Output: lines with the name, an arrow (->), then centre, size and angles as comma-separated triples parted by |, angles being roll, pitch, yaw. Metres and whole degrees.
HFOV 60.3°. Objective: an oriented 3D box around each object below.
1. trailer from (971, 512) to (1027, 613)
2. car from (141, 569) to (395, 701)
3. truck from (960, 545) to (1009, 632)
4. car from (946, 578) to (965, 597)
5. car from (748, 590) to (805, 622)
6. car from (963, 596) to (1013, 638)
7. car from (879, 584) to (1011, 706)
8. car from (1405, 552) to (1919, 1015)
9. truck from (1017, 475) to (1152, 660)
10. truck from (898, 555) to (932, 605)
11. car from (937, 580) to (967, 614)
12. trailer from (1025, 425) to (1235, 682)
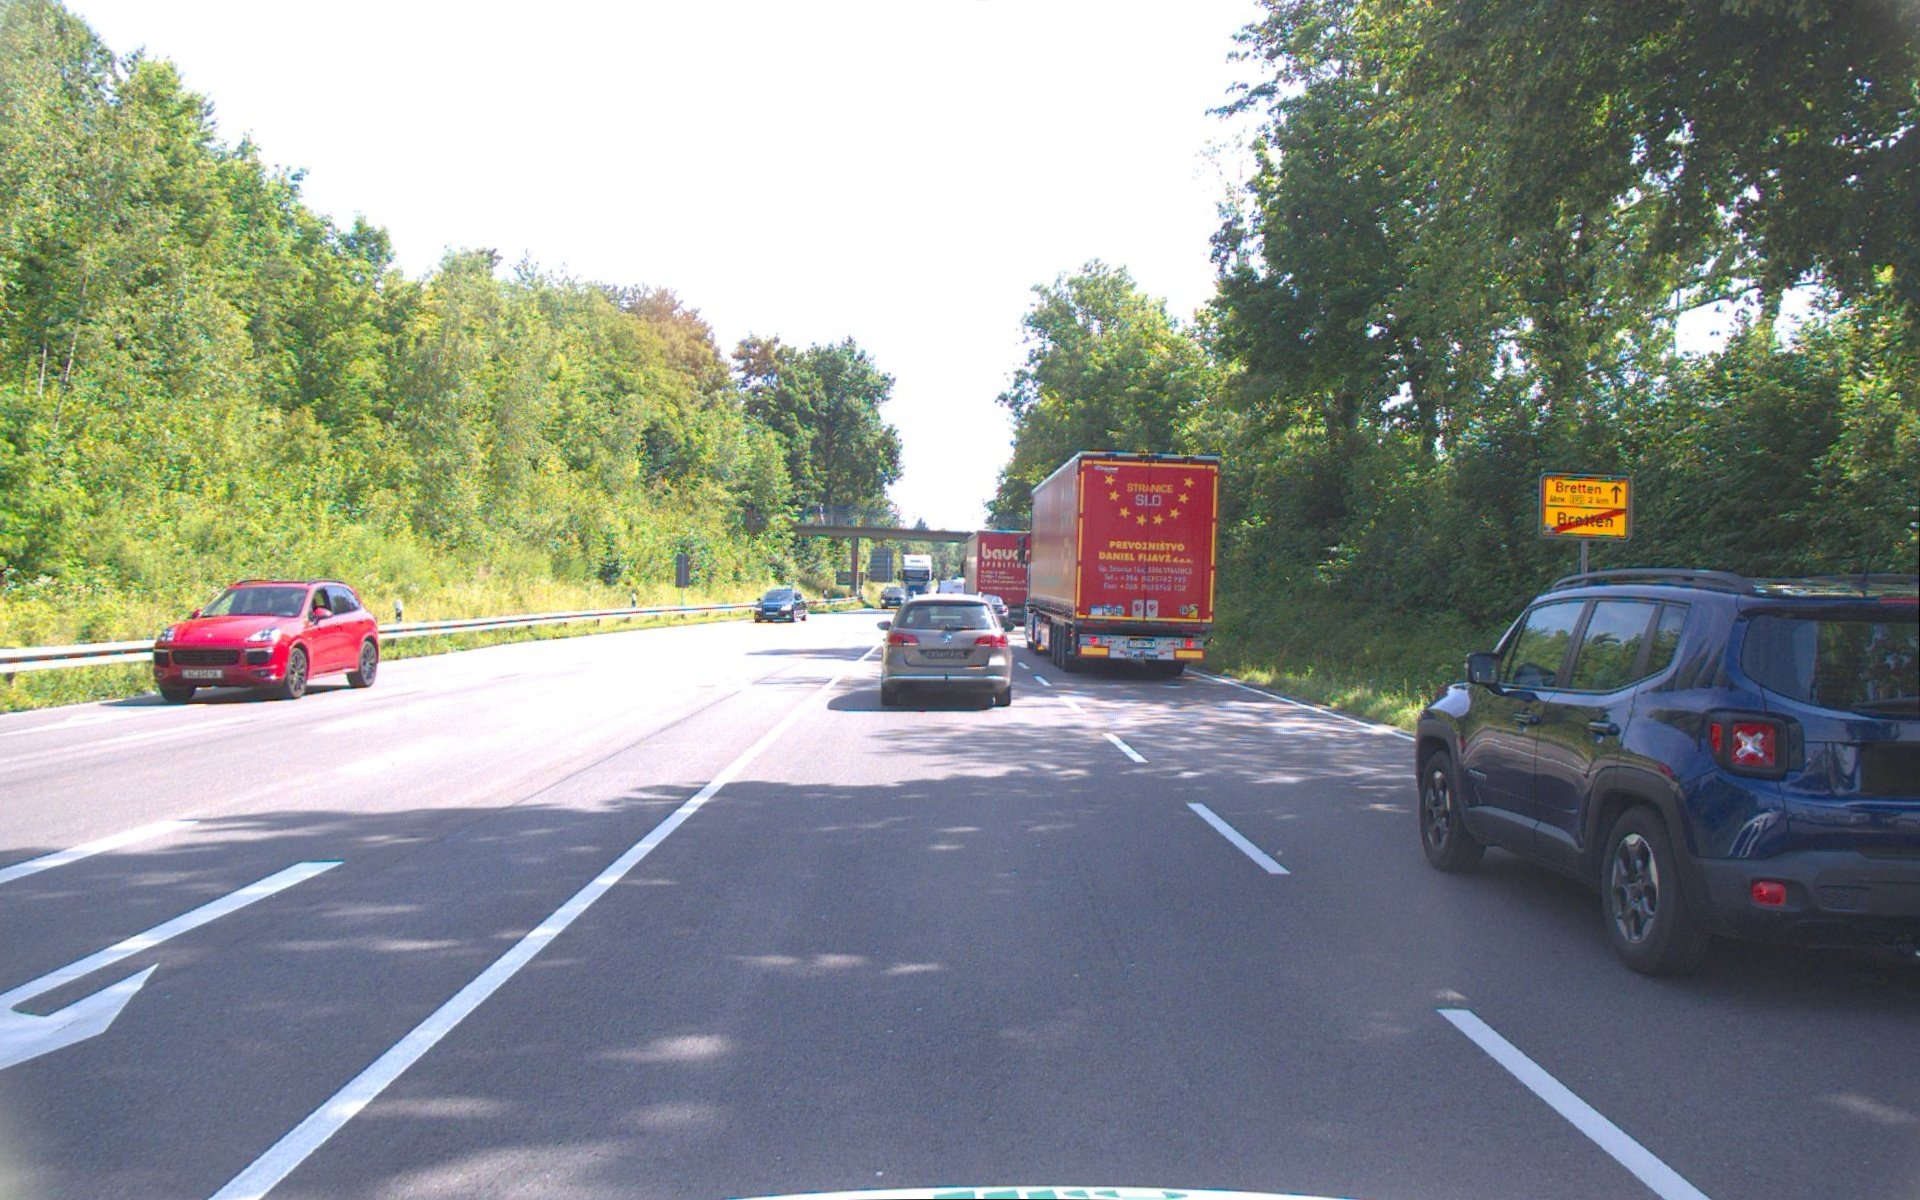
trailer -> 1.752, -1.567, 76.962 | 2.346, 4.317, 13.078 | 0, 0, 1
car -> -10.490, 0.496, 25.513 | 1.933, 1.828, 4.808 | 0, 0, -1
truck -> 1.227, -0.554, 83.195 | 2.357, 4.200, 5.521 | 0, 0, 1
car -> -0.500, -1.375, 181.699 | 1.953, 2.049, 3.999 | 0, 0, -1
car -> -8.222, 0.272, 74.399 | 1.922, 1.439, 4.001 | 0, 0, 3
car -> 1.025, 0.623, 62.792 | 1.734, 1.539, 3.999 | 0, 0, -1
car -> -0.233, 0.582, 22.967 | 1.657, 1.539, 3.999 | 0, 0, -1
car -> 3.643, 0.675, 8.069 | 1.735, 1.683, 3.998 | 0, 0, -2
truck -> 3.097, -0.771, 42.655 | 2.812, 4.356, 5.837 | 2, 0, -1
truck -> -3.795, -1.620, 138.523 | 2.718, 4.000, 9.463 | 0, 0, -2
car -> -0.508, -0.163, 98.531 | 1.734, 1.970, 3.976 | 0, 0, -1
trailer -> 3.265, -0.791, 35.786 | 2.782, 4.442, 13.163 | 2, 0, -1
